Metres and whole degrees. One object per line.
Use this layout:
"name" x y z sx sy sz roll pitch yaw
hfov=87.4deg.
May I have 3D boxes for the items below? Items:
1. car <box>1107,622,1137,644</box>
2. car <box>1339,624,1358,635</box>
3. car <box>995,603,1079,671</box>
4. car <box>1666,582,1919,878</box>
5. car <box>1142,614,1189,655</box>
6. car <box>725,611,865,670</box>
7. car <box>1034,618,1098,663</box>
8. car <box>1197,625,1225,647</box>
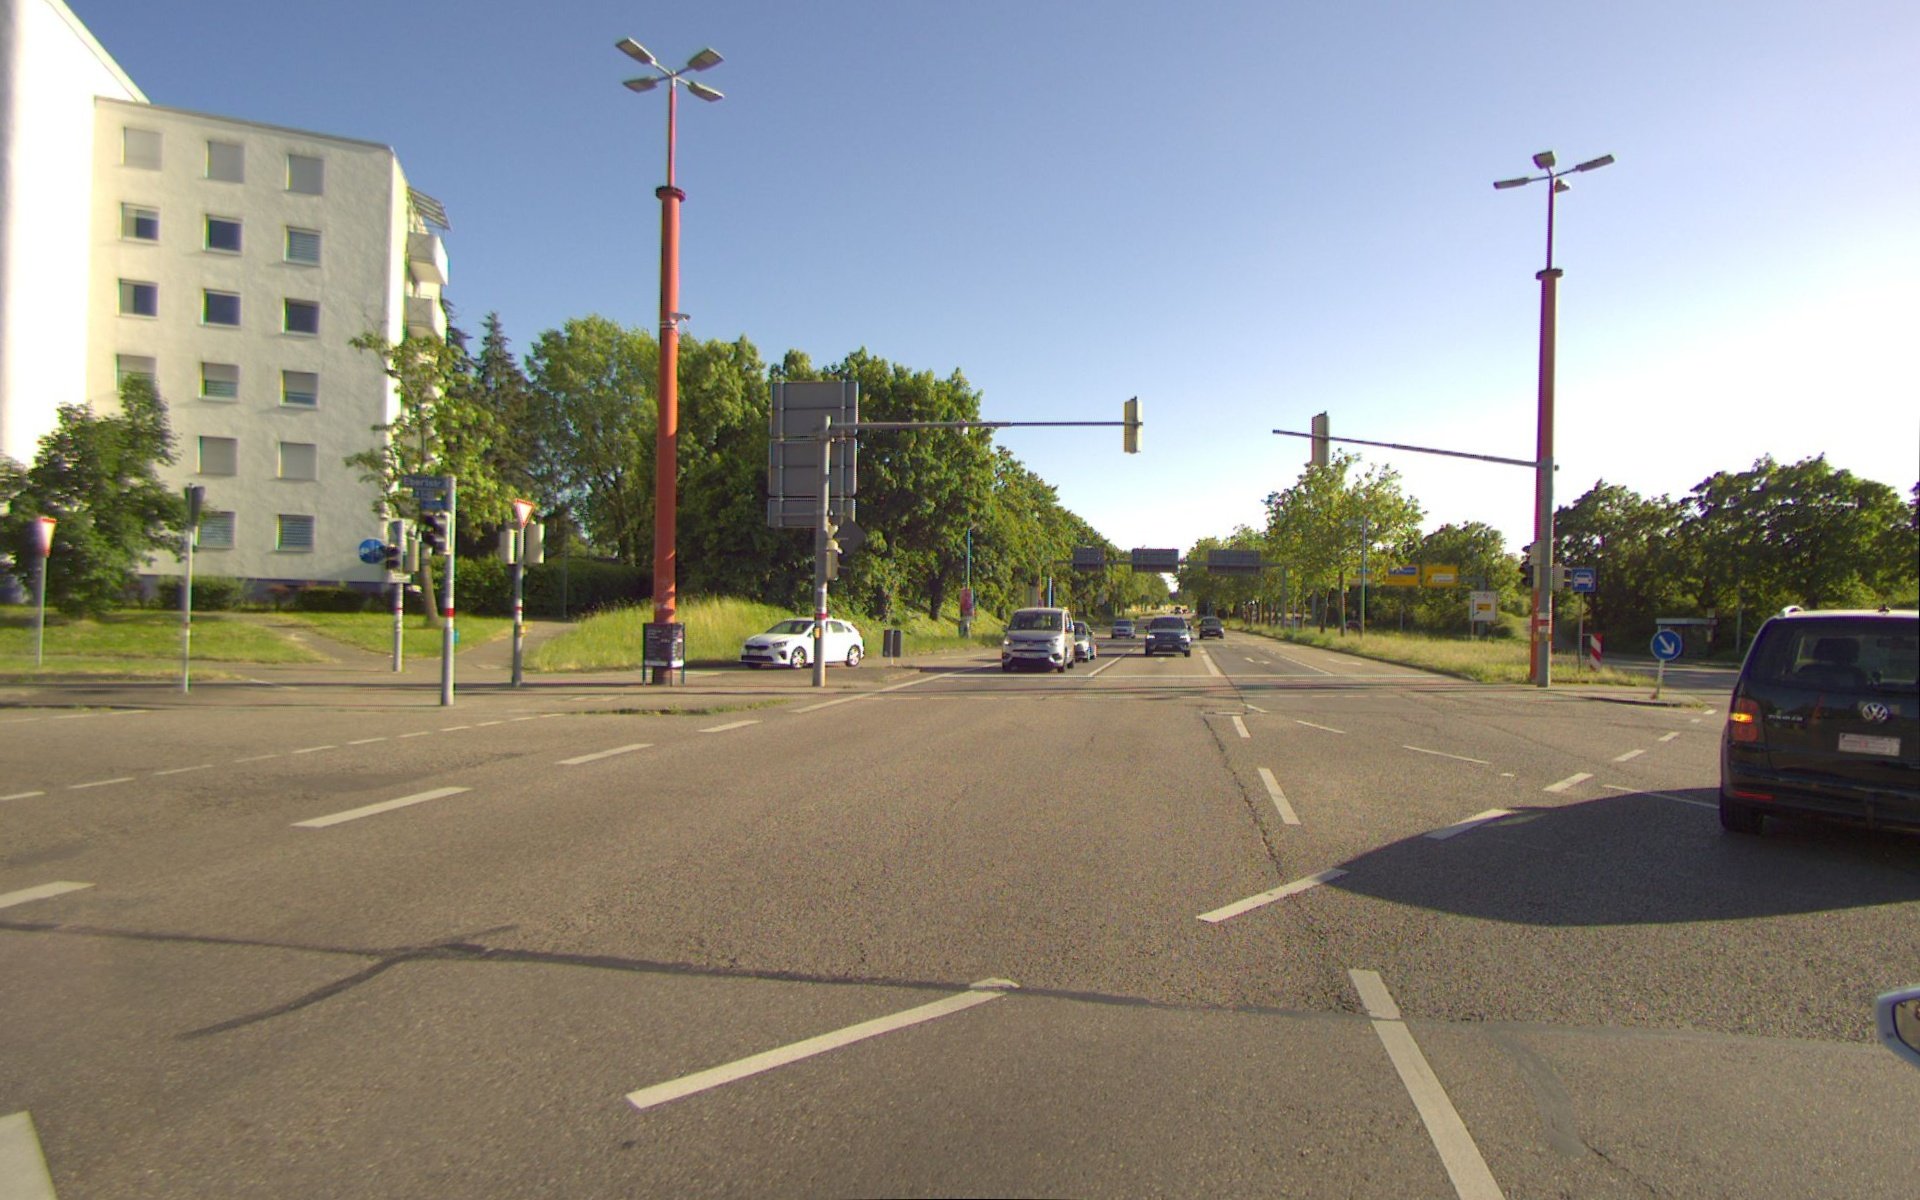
"car" 12.536 2.510 77.643 1.866 1.632 4.568 0 -1 14
"car" 53.428 4.047 138.197 1.737 1.483 4.368 2 0 14
"car" 2.305 1.032 29.106 1.866 1.798 4.449 0 -1 12
"car" 7.007 0.802 7.568 4.888 1.666 1.751 2 0 -43
"car" 8.682 1.409 42.401 1.866 1.632 4.568 0 -1 12
"car" -4.735 1.140 29.436 1.870 1.571 4.254 0 -1 28
"car" 3.938 1.427 36.552 1.866 1.494 4.568 0 -1 12
"car" 18.849 2.682 75.687 1.866 1.586 4.568 0 -1 12
